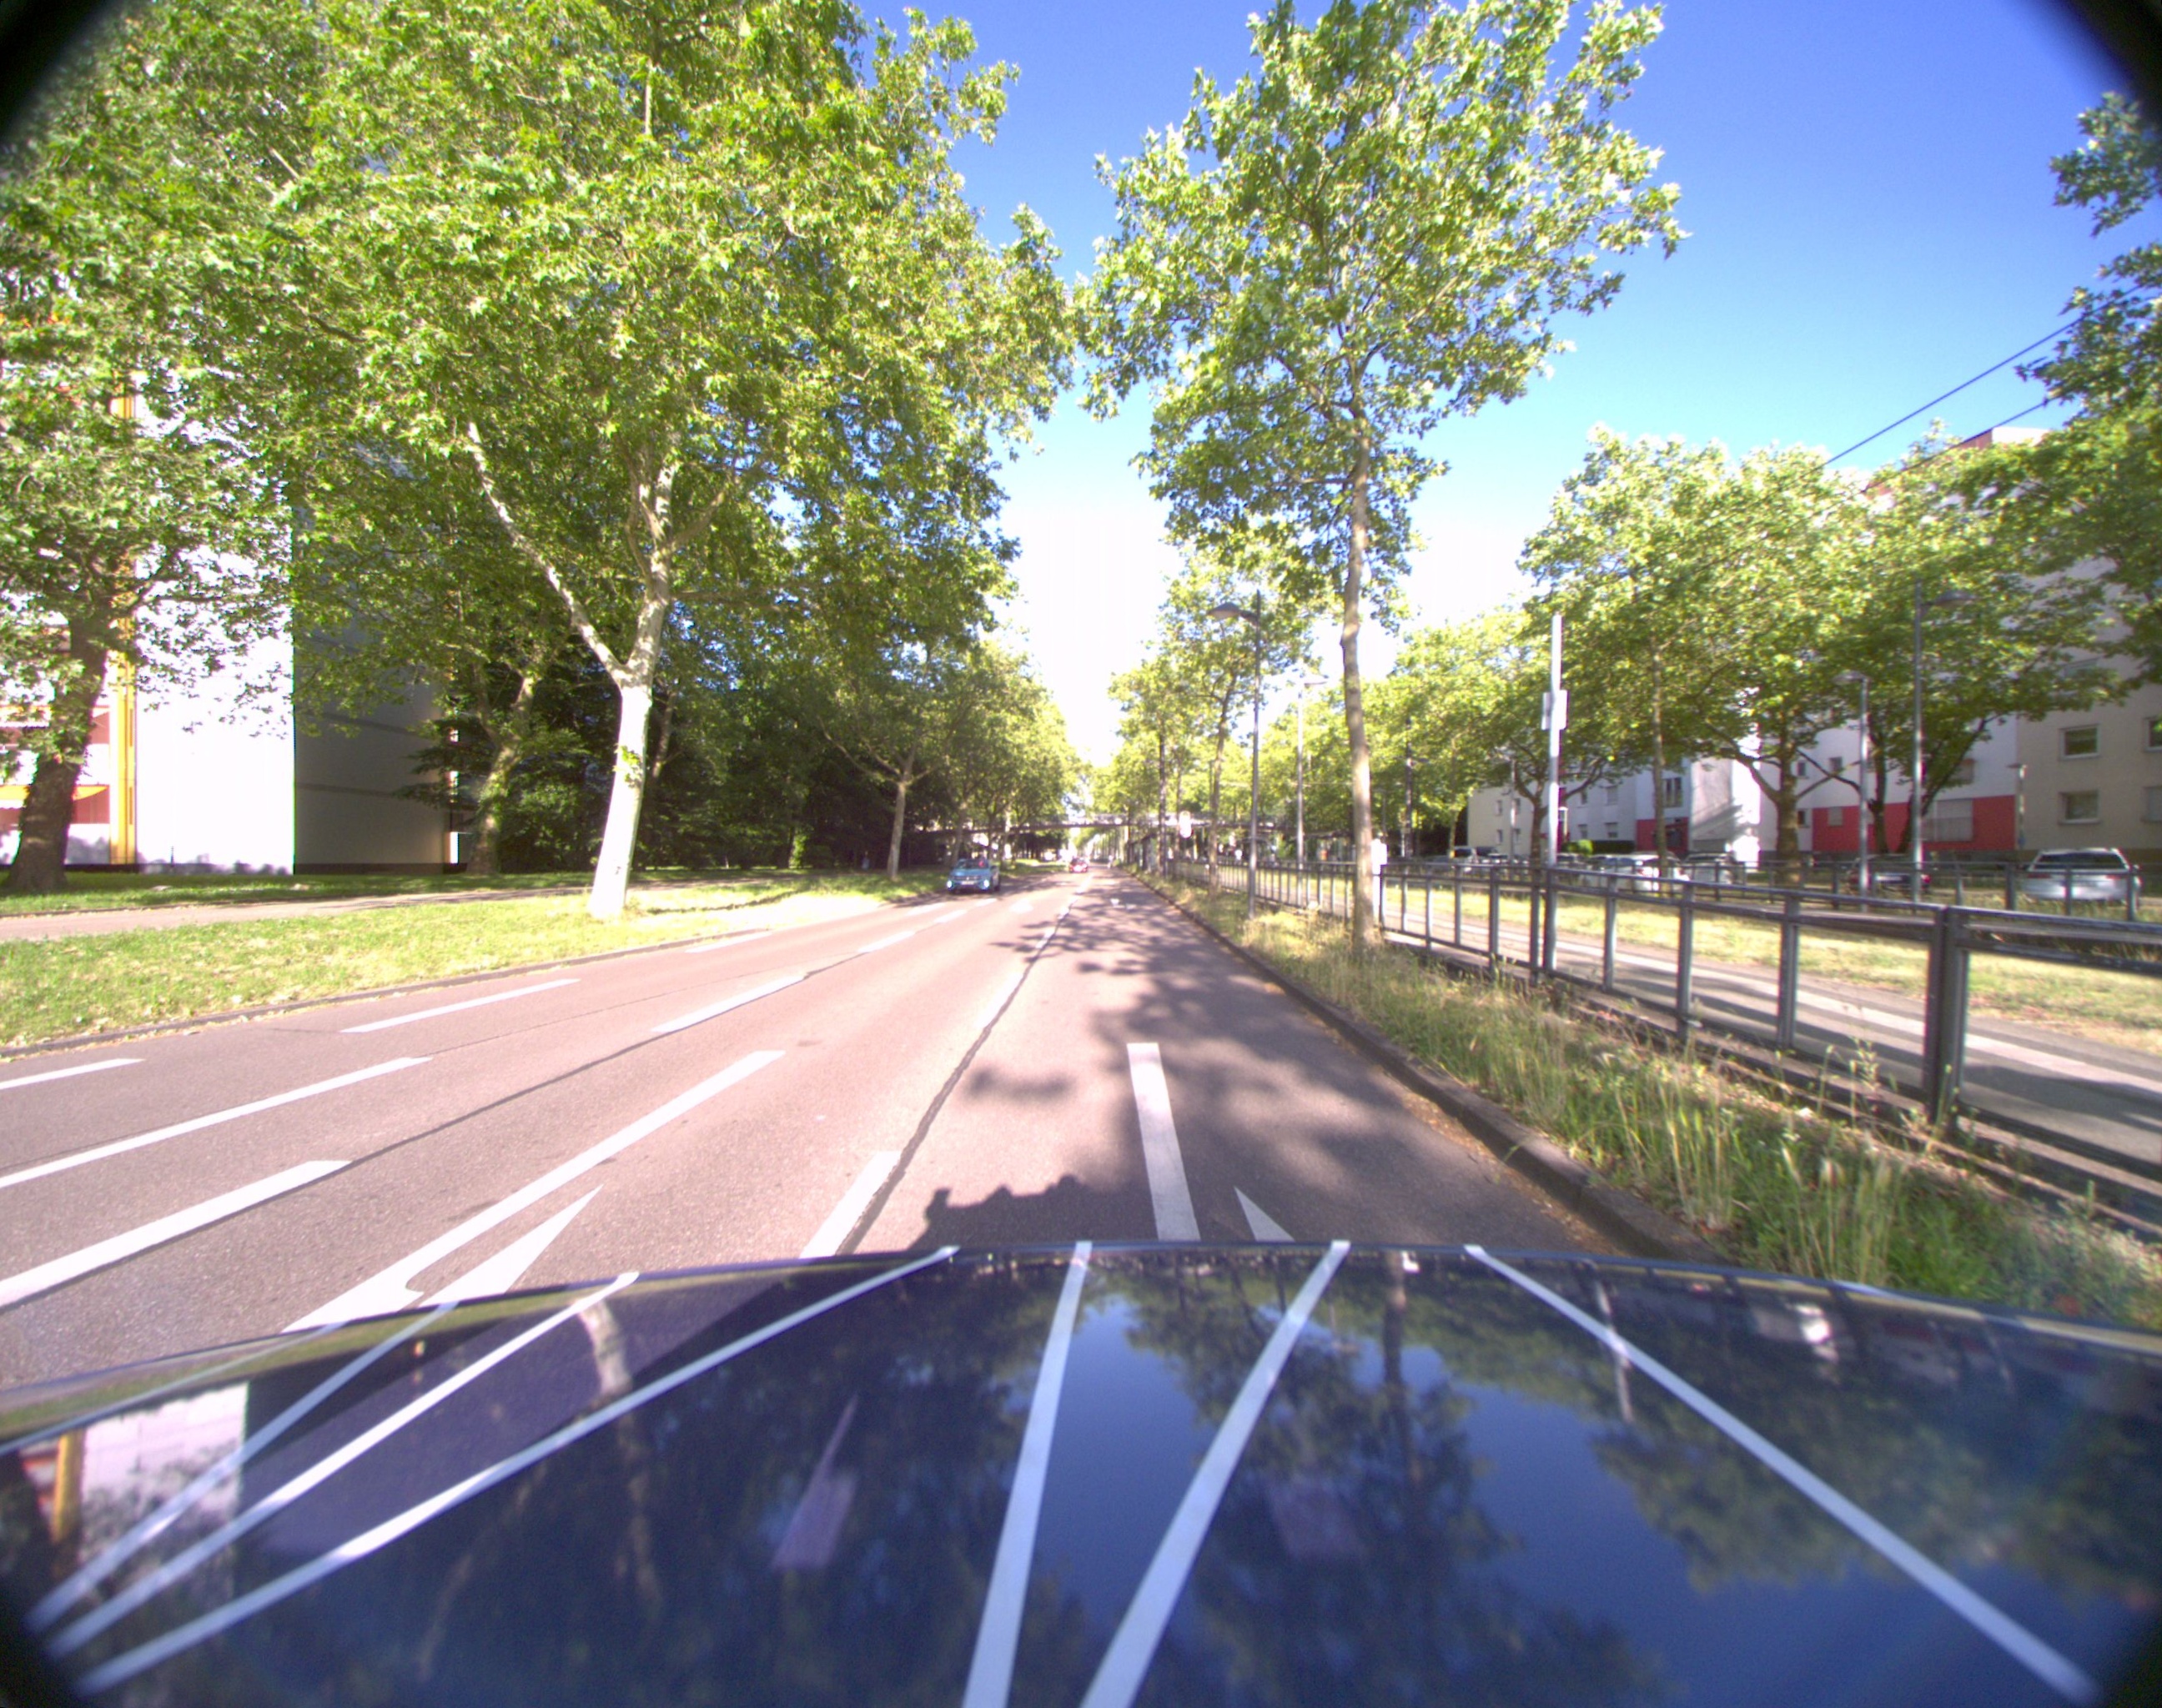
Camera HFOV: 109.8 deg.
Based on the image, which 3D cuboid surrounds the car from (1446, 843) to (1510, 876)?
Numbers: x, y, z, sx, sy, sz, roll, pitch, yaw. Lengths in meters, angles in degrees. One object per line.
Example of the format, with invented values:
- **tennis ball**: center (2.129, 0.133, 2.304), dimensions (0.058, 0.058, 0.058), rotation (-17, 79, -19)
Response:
- **car**: center (25.960, 0.344, 49.649), dimensions (4.508, 2.051, 1.895), rotation (-2, -1, -37)

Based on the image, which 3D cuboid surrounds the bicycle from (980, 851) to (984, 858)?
- **bicycle**: center (-18.686, 0.112, 143.759), dimensions (0.577, 1.246, 1.806), rotation (-1, 1, -1)

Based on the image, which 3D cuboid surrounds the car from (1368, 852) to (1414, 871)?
- **car**: center (26.730, 0.638, 65.443), dimensions (4.208, 1.420, 1.696), rotation (-2, -1, -37)

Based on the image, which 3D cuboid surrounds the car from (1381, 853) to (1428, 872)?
- **car**: center (26.693, 0.665, 62.653), dimensions (4.208, 1.420, 1.696), rotation (-2, -1, -37)

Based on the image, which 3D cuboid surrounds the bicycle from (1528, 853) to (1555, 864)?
- **bicycle**: center (39.077, 0.388, 64.512), dimensions (0.697, 0.922, 2.595), rotation (-1, -1, -2)

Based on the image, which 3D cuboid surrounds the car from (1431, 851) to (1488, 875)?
- **car**: center (26.427, 0.598, 53.060), dimensions (4.509, 1.489, 1.895), rotation (-2, -1, -40)

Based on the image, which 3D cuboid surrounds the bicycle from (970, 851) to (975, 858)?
- **bicycle**: center (-20.253, 0.094, 141.677), dimensions (0.577, 1.246, 1.806), rotation (-1, 1, -1)

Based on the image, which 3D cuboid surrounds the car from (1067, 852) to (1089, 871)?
- **car**: center (-0.212, 0.657, 69.458), dimensions (1.898, 1.602, 4.000), rotation (-1, 1, 1)

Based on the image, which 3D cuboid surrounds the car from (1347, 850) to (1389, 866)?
- **car**: center (27.248, 0.392, 72.054), dimensions (4.208, 1.420, 1.696), rotation (-2, -1, -37)

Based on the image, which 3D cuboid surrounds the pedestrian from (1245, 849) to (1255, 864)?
- **pedestrian**: center (16.916, 0.225, 76.044), dimensions (0.644, 1.505, 0.683), rotation (1, 1, -11)

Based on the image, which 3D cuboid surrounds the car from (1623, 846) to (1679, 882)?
- **car**: center (26.130, 0.428, 34.782), dimensions (1.571, 1.559, 4.068), rotation (-2, -1, 43)

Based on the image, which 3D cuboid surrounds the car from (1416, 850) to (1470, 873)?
- **car**: center (26.975, 0.552, 56.541), dimensions (4.509, 1.489, 1.895), rotation (-2, -1, -40)

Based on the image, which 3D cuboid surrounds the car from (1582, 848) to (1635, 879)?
- **car**: center (26.149, 0.460, 37.632), dimensions (1.571, 1.424, 4.068), rotation (-2, -1, 43)

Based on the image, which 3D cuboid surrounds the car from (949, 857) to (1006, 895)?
- **car**: center (-4.367, 0.903, 32.627), dimensions (1.780, 1.474, 4.101), rotation (-2, 0, 2)

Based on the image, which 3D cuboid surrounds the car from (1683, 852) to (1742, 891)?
- **car**: center (25.473, 0.671, 30.613), dimensions (1.571, 1.465, 4.068), rotation (-2, -1, 43)

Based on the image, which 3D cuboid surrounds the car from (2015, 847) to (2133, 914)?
- **car**: center (25.098, 0.615, 19.322), dimensions (4.001, 1.535, 1.642), rotation (-1, -1, -40)

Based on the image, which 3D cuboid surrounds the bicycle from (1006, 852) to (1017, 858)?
- **bicycle**: center (-12.857, 0.208, 140.892), dimensions (2.073, 1.151, 0.561), rotation (1, 1, -10)

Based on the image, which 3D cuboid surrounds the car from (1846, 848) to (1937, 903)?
- **car**: center (24.836, 0.620, 23.401), dimensions (1.642, 1.535, 4.184), rotation (-2, -1, 43)

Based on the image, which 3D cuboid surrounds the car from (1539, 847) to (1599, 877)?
- **car**: center (26.116, 0.432, 40.572), dimensions (1.895, 1.495, 4.509), rotation (-2, -1, 43)

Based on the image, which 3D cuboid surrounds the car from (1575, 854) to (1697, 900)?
- **car**: center (19.517, 0.756, 26.916), dimensions (1.635, 1.441, 3.718), rotation (-1, 1, 1)

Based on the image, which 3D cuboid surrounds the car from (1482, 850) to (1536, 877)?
- **car**: center (26.351, 0.562, 46.725), dimensions (4.068, 1.601, 1.685), rotation (-1, -1, -42)

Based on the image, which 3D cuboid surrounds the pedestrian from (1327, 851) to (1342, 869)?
- **pedestrian**: center (16.392, 0.372, 49.109), dimensions (0.696, 1.121, 0.662), rotation (3, 1, 2)

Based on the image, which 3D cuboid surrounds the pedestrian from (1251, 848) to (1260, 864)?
- **pedestrian**: center (17.376, 0.186, 75.562), dimensions (0.731, 1.625, 0.715), rotation (1, 1, -1)
